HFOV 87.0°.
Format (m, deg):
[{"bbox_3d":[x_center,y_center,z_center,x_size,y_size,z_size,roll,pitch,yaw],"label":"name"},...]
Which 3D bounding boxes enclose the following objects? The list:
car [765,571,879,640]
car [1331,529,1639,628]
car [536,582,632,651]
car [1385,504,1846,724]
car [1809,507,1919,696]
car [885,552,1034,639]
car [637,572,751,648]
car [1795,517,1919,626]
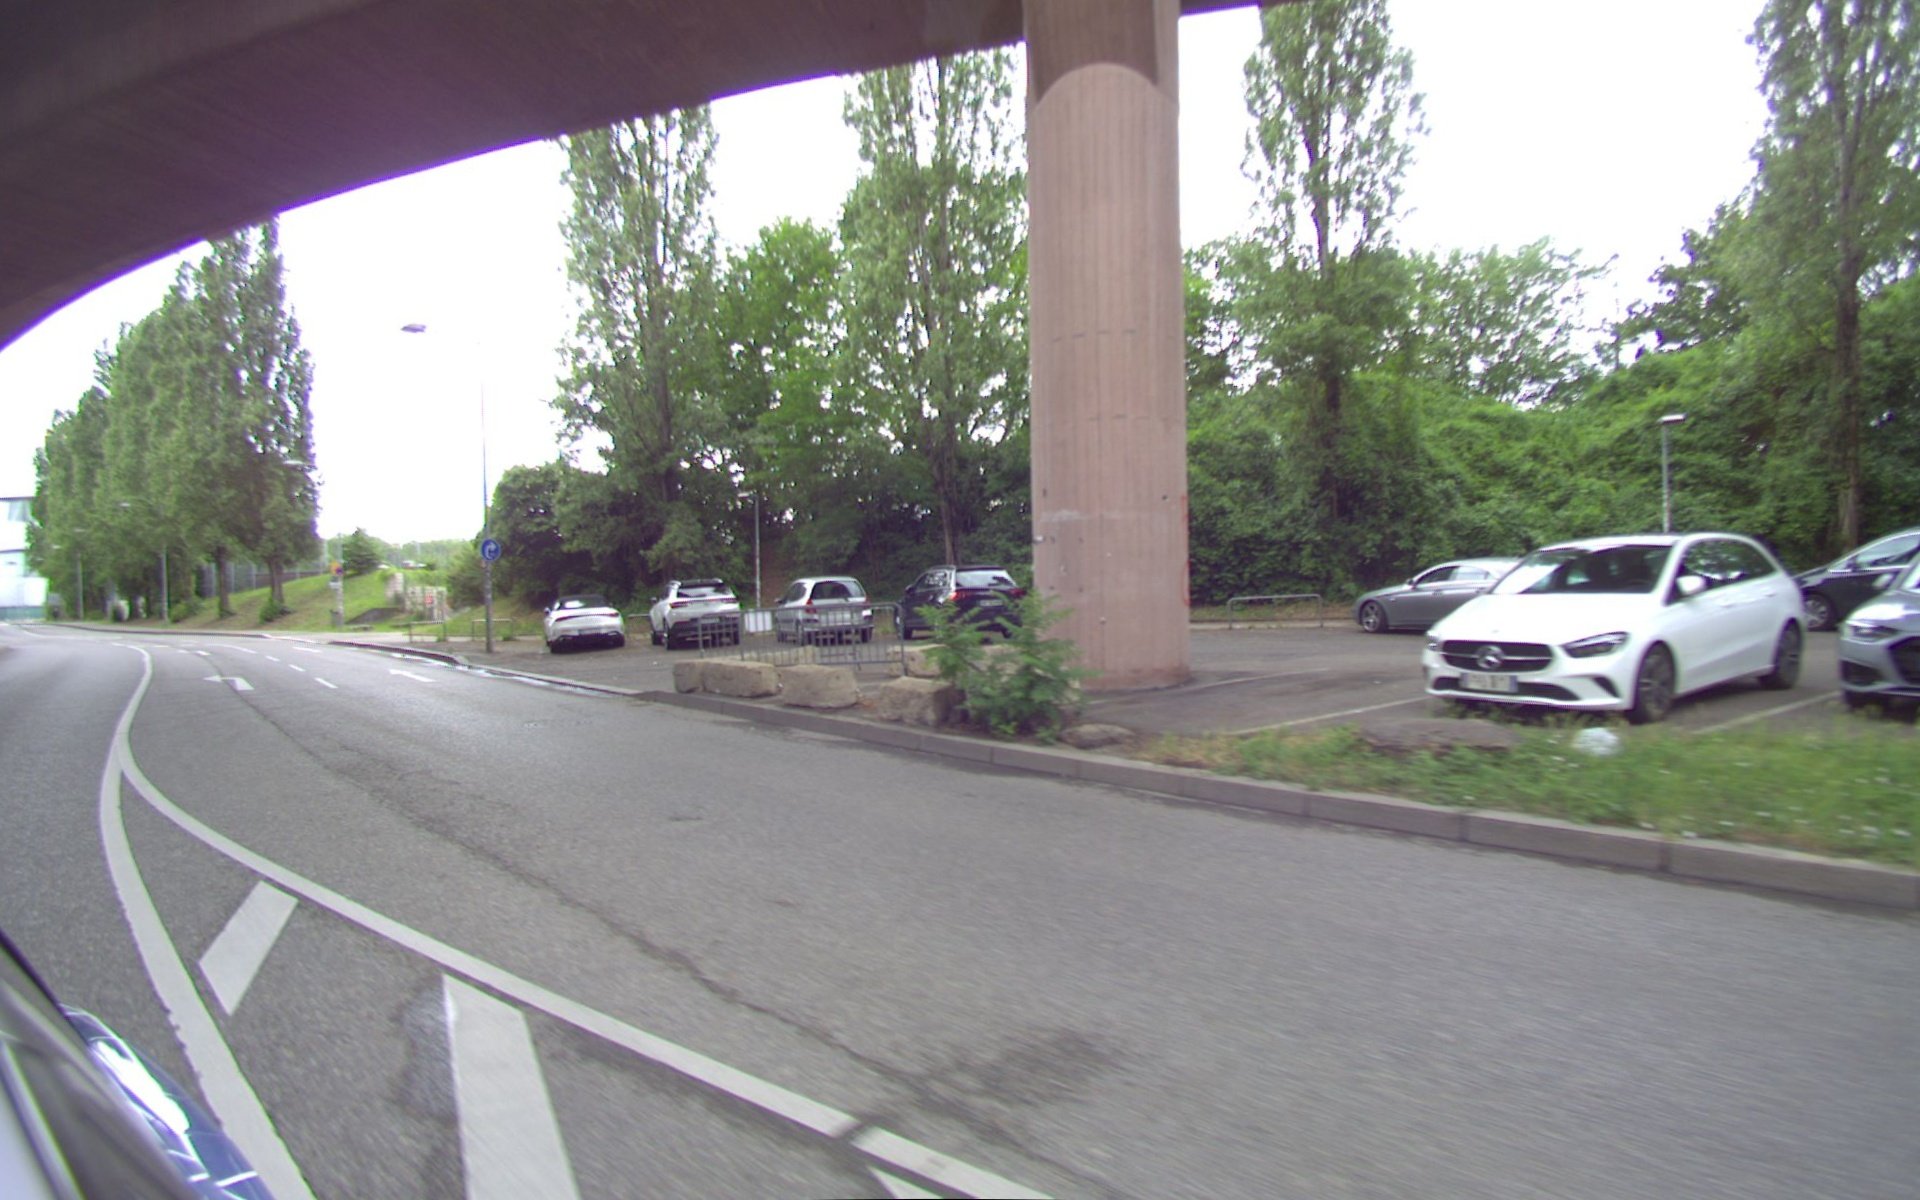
[{"bbox_3d":[-3.309,0.102,23.753,1.761,1.465,3.759,-1,0,-22],"label":"car"},{"bbox_3d":[9.227,-0.325,18.365,1.831,1.499,4.904,-3,0,-22],"label":"car"},{"bbox_3d":[-10.328,0.361,27.584,1.966,1.490,4.845,-5,4,-25],"label":"car"},{"bbox_3d":[6.222,0.001,9.486,4.321,1.618,1.960,-4,1,-32],"label":"car"},{"bbox_3d":[8.908,-0.104,8.239,4.188,1.381,2.005,-4,1,-35],"label":"car"},{"bbox_3d":[-0.125,-0.121,22.299,1.831,1.704,4.178,-1,1,-22],"label":"car"},{"bbox_3d":[-6.801,0.171,25.571,1.966,1.594,4.415,-5,3,-24],"label":"car"},{"bbox_3d":[15.811,-0.443,15.573,1.868,1.688,4.167,0,-1,-19],"label":"car"}]
